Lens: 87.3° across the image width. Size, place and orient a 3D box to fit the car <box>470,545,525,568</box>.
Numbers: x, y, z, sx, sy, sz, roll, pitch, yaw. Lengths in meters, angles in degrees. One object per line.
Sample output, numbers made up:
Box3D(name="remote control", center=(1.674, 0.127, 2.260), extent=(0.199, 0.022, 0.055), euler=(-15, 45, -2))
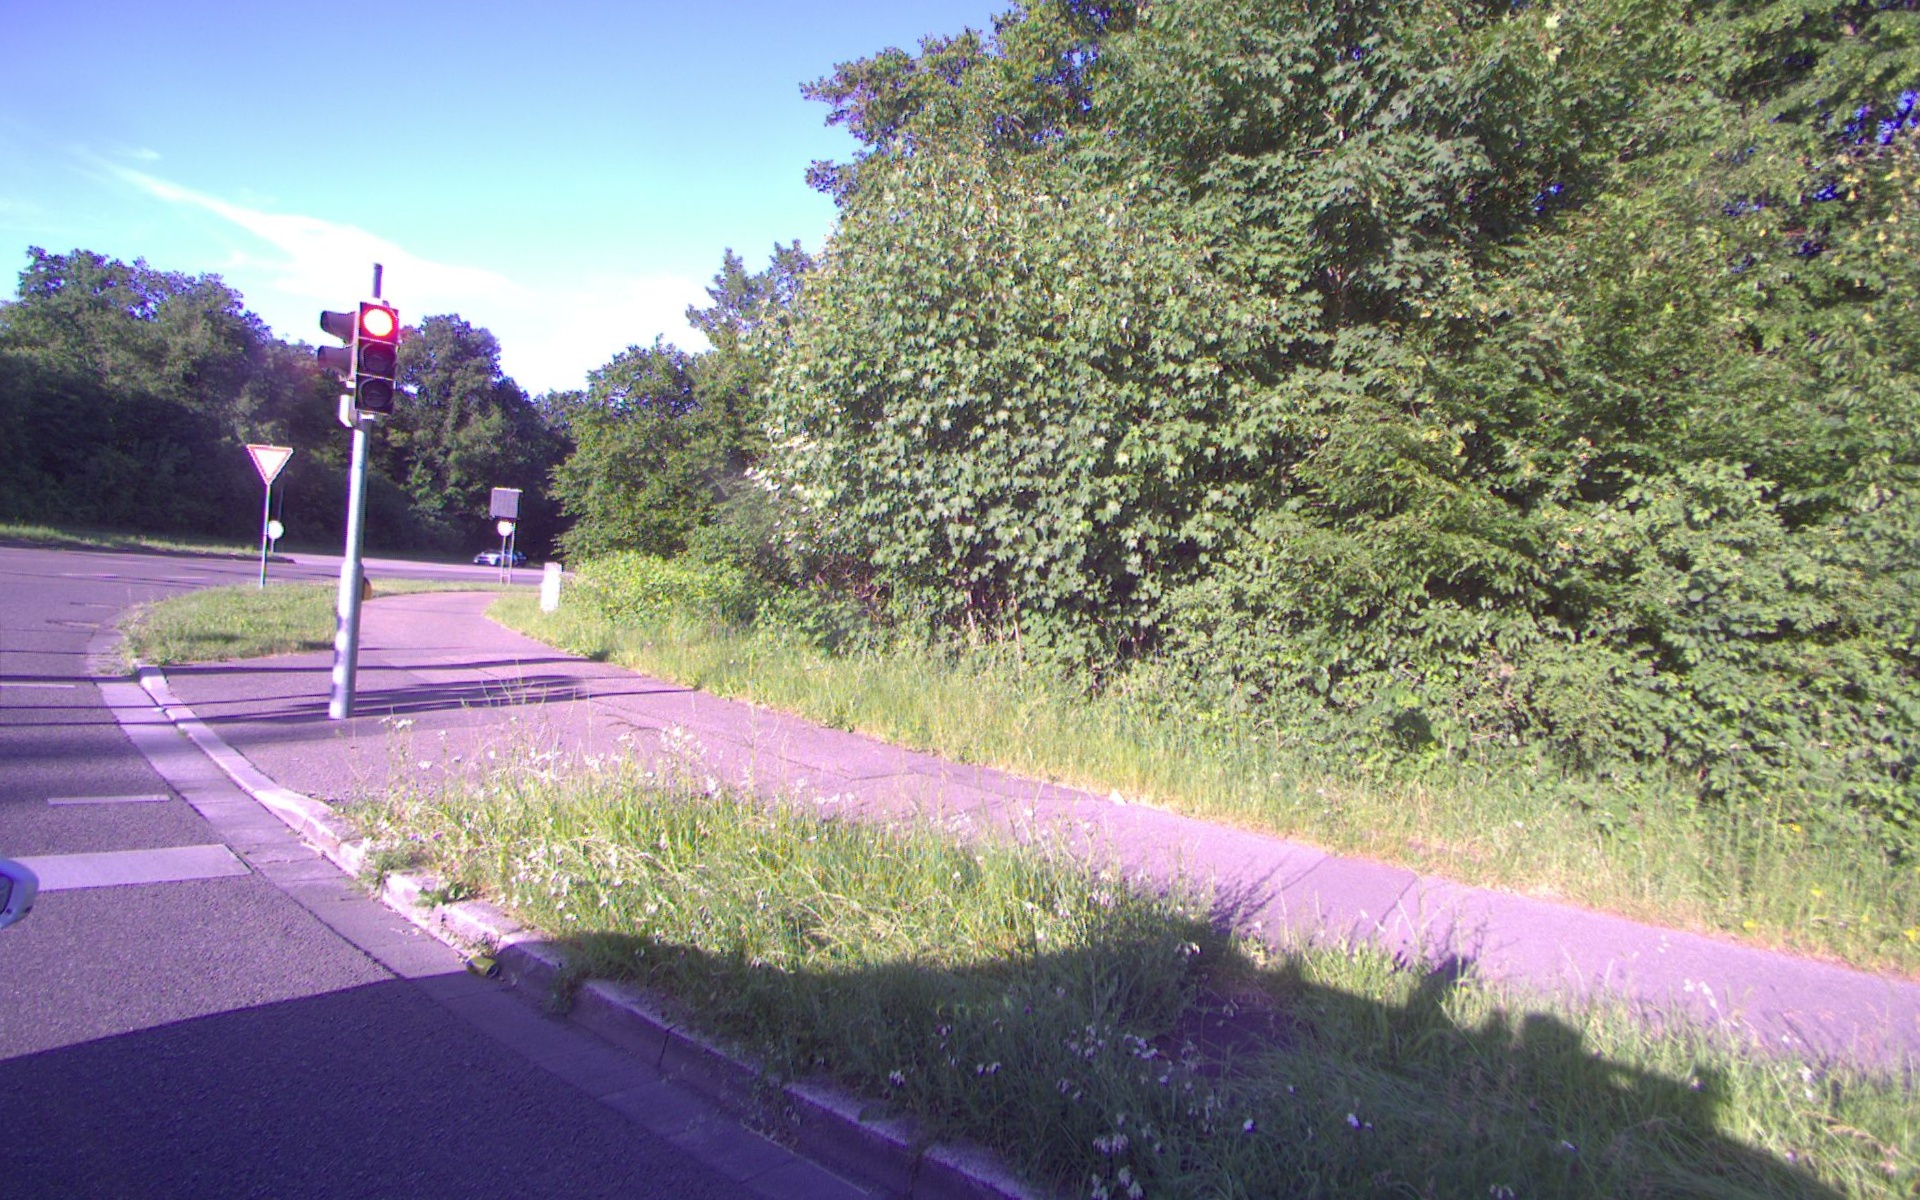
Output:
Box3D(name="car", center=(-36.573, -3.409, 79.710), extent=(1.963, 1.454, 4.806), euler=(6, 0, 0))
